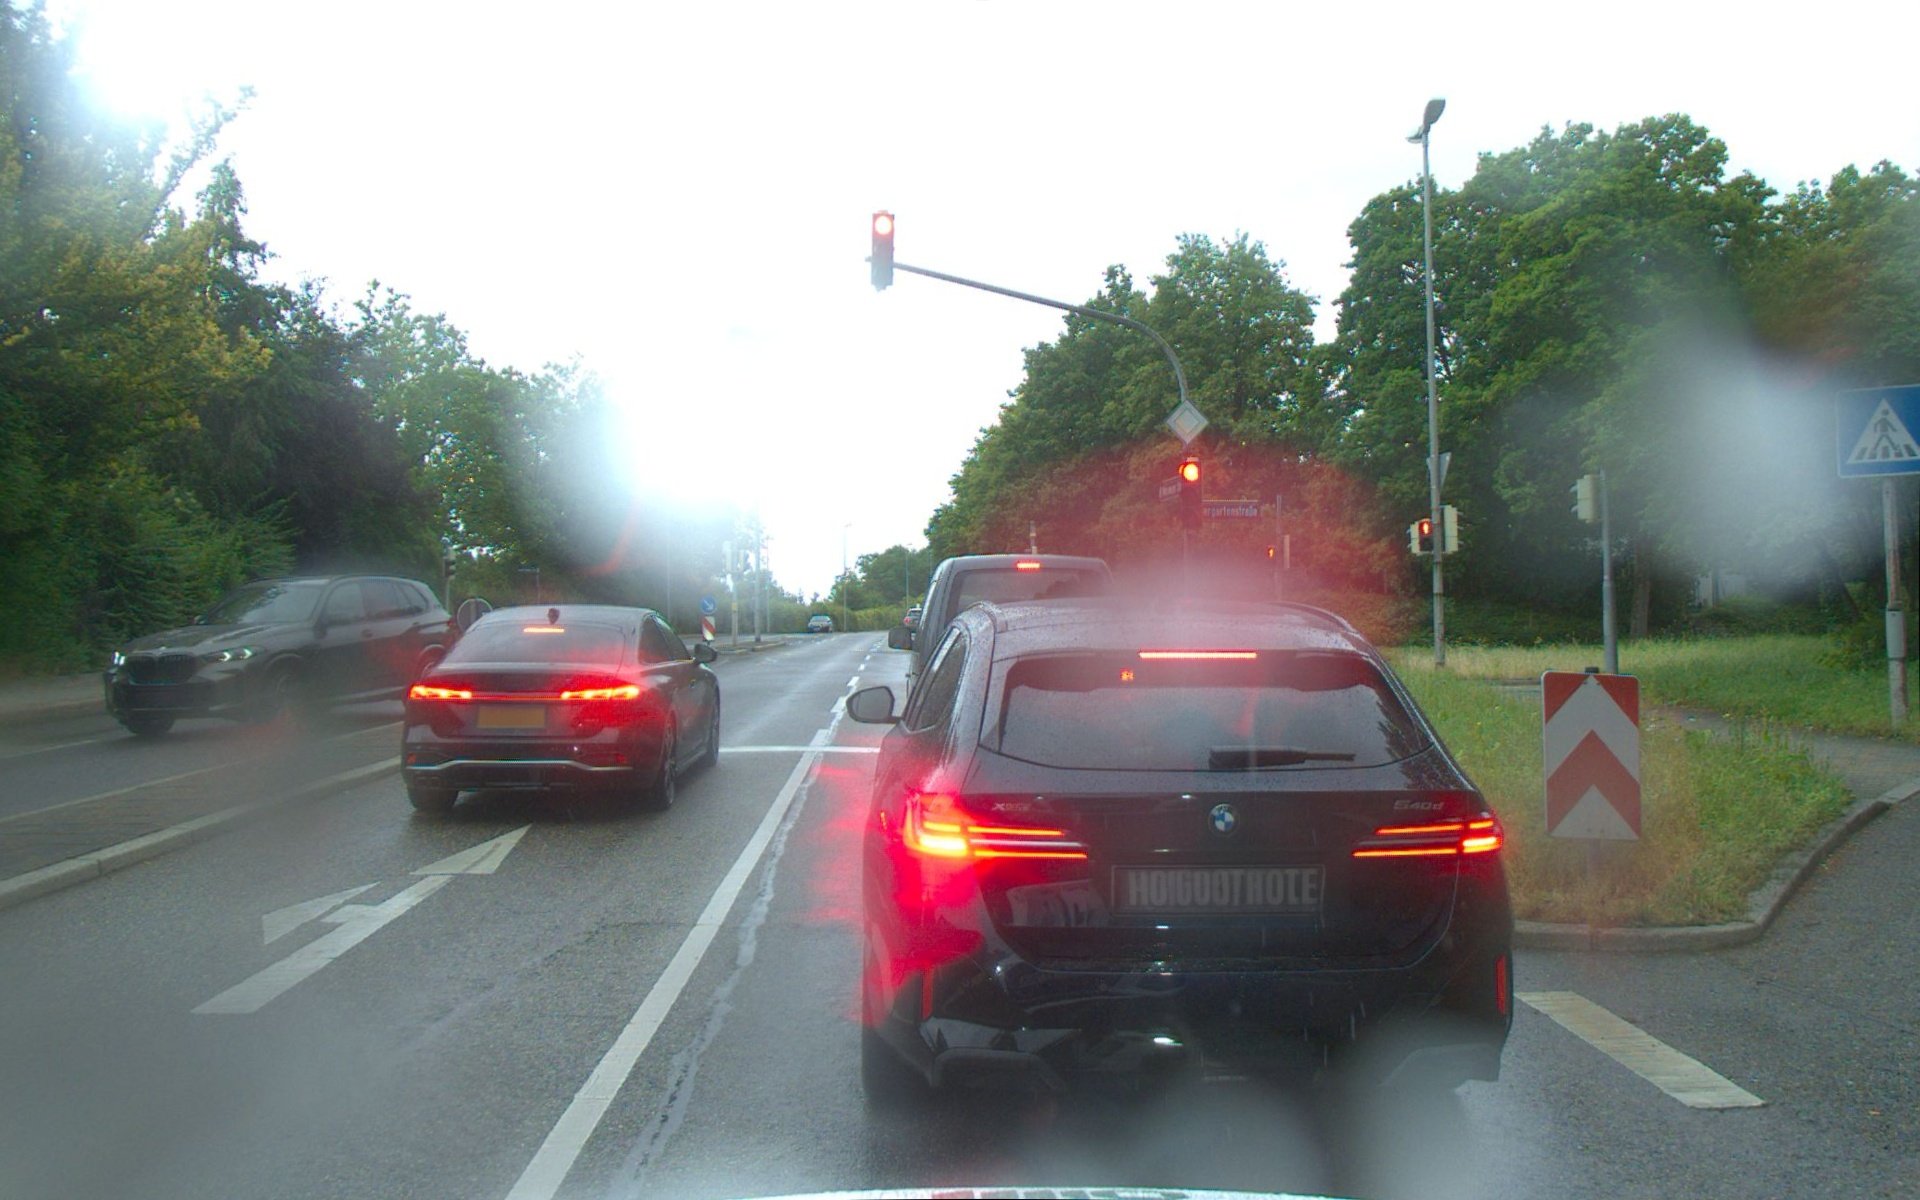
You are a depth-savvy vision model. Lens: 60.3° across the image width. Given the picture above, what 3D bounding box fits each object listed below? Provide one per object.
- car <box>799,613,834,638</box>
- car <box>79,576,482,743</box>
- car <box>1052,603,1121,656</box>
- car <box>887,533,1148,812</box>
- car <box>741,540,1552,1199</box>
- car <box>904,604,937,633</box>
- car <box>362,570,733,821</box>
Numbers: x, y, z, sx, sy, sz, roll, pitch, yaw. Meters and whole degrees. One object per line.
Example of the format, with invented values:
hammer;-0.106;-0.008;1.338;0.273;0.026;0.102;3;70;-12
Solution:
car;-11.439;1.997;131.993;1.951;1.858;4.002;-2;-1;6
car;-7.911;0.620;19.850;1.951;1.747;4.721;-2;0;16
car;3.972;0.914;52.445;1.835;1.569;3.952;-2;0;0
car;0.385;0.512;13.328;1.781;1.901;3.952;0;0;0
car;0.535;0.696;6.127;1.858;1.578;4.616;0;-1;3
car;-2.130;1.001;89.040;1.663;1.452;3.513;-2;0;0
car;-2.988;0.636;12.965;1.954;1.554;4.325;-2;0;-3
